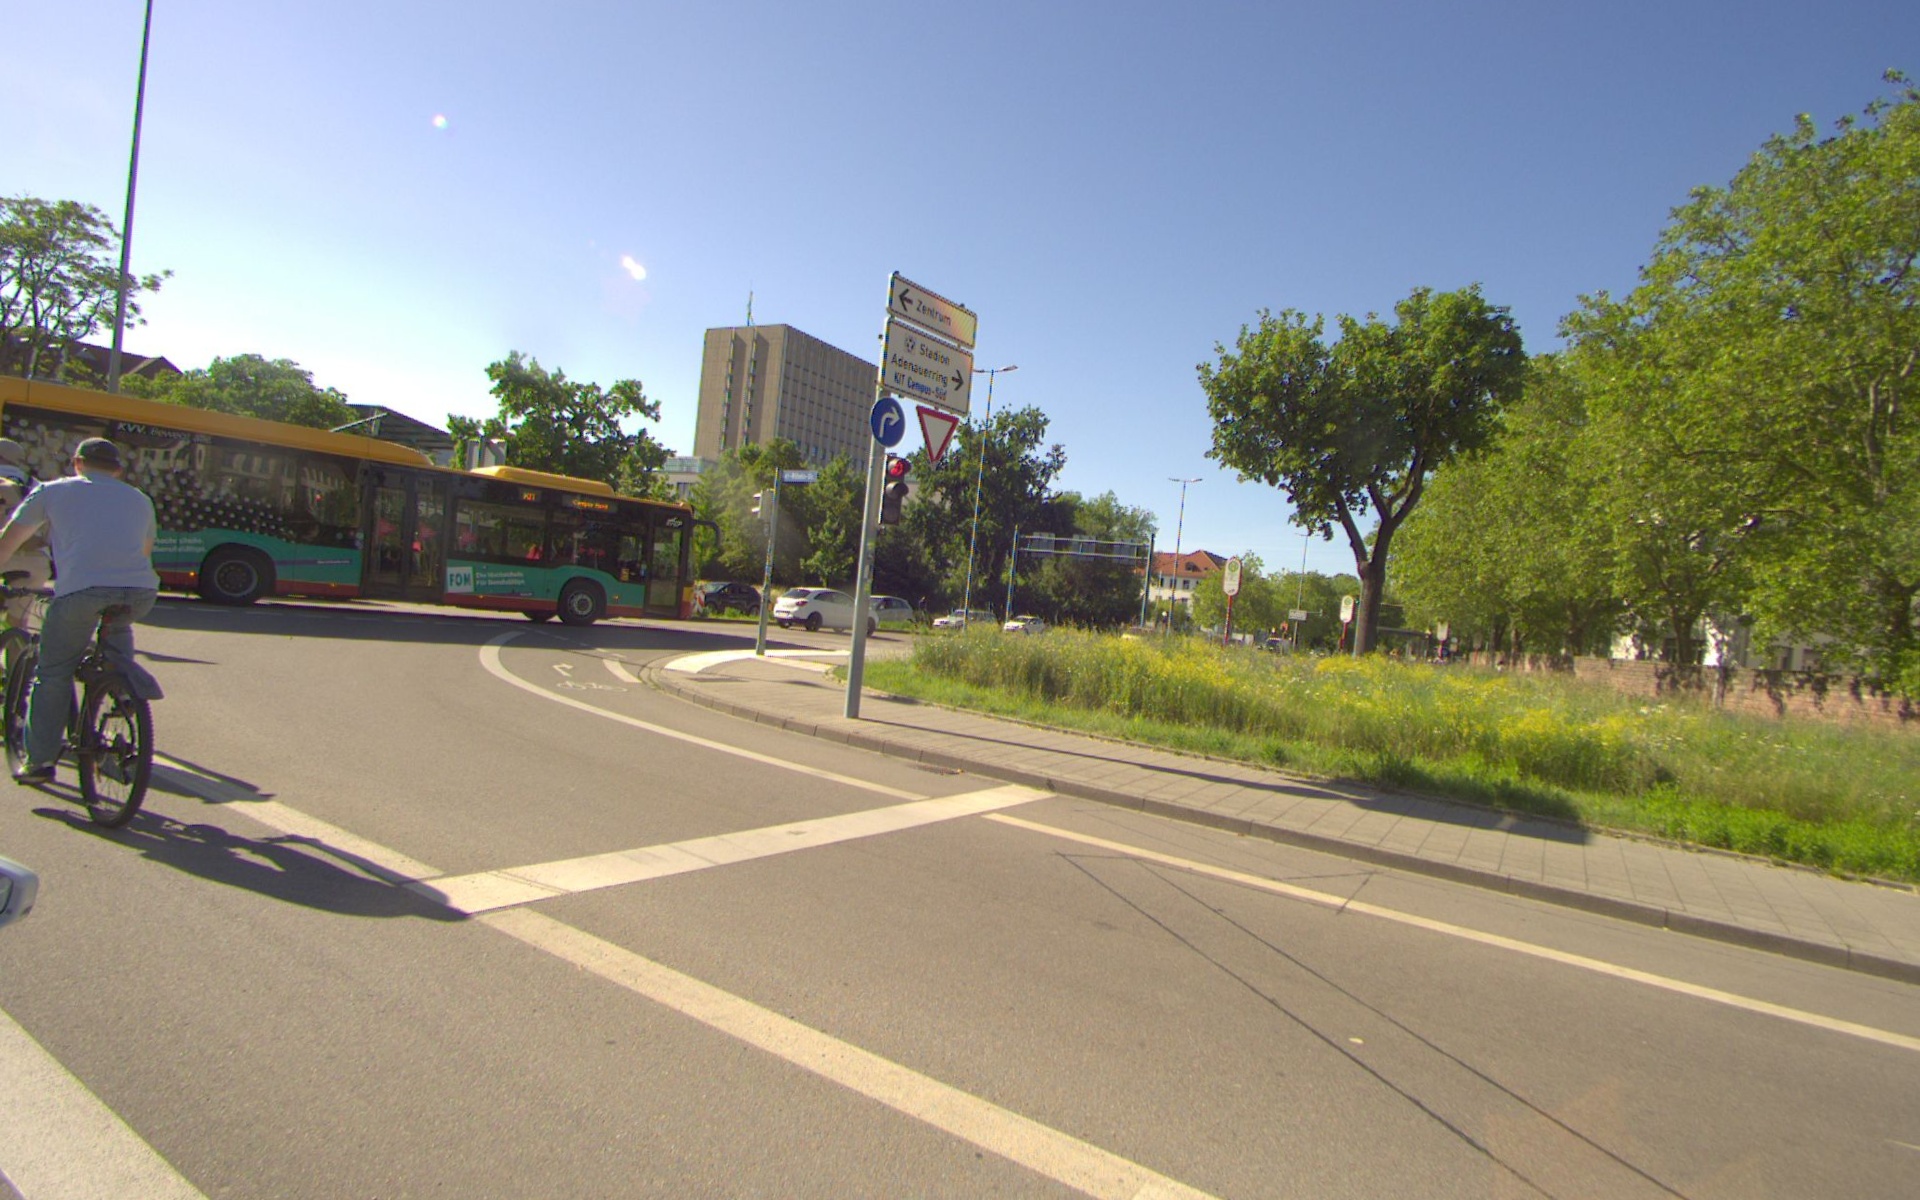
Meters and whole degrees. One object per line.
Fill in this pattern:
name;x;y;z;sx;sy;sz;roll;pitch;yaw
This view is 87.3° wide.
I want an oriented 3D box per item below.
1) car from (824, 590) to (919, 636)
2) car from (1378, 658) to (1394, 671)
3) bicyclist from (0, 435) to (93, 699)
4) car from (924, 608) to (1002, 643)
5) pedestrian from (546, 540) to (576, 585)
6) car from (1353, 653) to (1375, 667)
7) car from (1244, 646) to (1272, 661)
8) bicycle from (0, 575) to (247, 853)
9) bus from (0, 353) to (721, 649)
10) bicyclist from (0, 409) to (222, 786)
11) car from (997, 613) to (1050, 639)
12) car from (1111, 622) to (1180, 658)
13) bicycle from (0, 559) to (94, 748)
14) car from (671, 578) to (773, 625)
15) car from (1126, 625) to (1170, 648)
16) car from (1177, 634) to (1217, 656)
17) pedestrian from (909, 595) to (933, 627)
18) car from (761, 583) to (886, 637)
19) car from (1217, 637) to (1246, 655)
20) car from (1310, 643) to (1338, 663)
car;-3.923;0.615;45.376;1.882;1.625;4.124;7;0;37
car;74.769;11.338;176.448;1.966;1.786;3.996;6;-2;30
bicyclist;-6.294;-0.244;6.436;1.063;1.601;0.675;7;-1;31
car;0.249;1.561;59.733;1.909;1.613;4.860;7;0;38
pedestrian;-19.950;-1.877;50.314;0.800;2.106;0.896;7;1;35
car;58.616;8.694;145.867;1.892;1.625;4.072;7;0;35
car;32.107;5.816;108.352;1.966;1.378;4.002;5;-1;29
bicycle;-4.535;0.484;5.090;1.871;1.064;0.748;6;1;31
bus;-11.066;-1.369;19.639;3.208;3.614;12.389;7;0;45
bicyclist;-4.397;-0.025;5.033;0.851;1.695;0.741;7;1;30
car;4.537;1.887;71.301;1.784;1.509;3.955;4;-2;36
car;9.276;2.019;50.161;1.863;1.419;3.847;3;-3;35
bicycle;-6.447;0.268;6.485;1.813;1.063;0.672;6;-1;31
car;-10.408;0.092;44.209;1.809;1.590;3.984;7;0;38
car;16.710;3.217;89.218;1.969;1.625;4.504;7;0;35
car;21.274;4.062;90.342;1.968;1.625;4.127;7;0;35
pedestrian;-2.762;0.793;71.151;0.966;2.106;1.186;7;1;35
car;-4.536;0.372;33.827;1.734;1.390;3.983;7;0;39
car;29.109;4.990;107.845;1.890;1.625;4.078;7;0;29
car;44.825;6.536;123.880;1.968;2.062;4.835;7;0;34
